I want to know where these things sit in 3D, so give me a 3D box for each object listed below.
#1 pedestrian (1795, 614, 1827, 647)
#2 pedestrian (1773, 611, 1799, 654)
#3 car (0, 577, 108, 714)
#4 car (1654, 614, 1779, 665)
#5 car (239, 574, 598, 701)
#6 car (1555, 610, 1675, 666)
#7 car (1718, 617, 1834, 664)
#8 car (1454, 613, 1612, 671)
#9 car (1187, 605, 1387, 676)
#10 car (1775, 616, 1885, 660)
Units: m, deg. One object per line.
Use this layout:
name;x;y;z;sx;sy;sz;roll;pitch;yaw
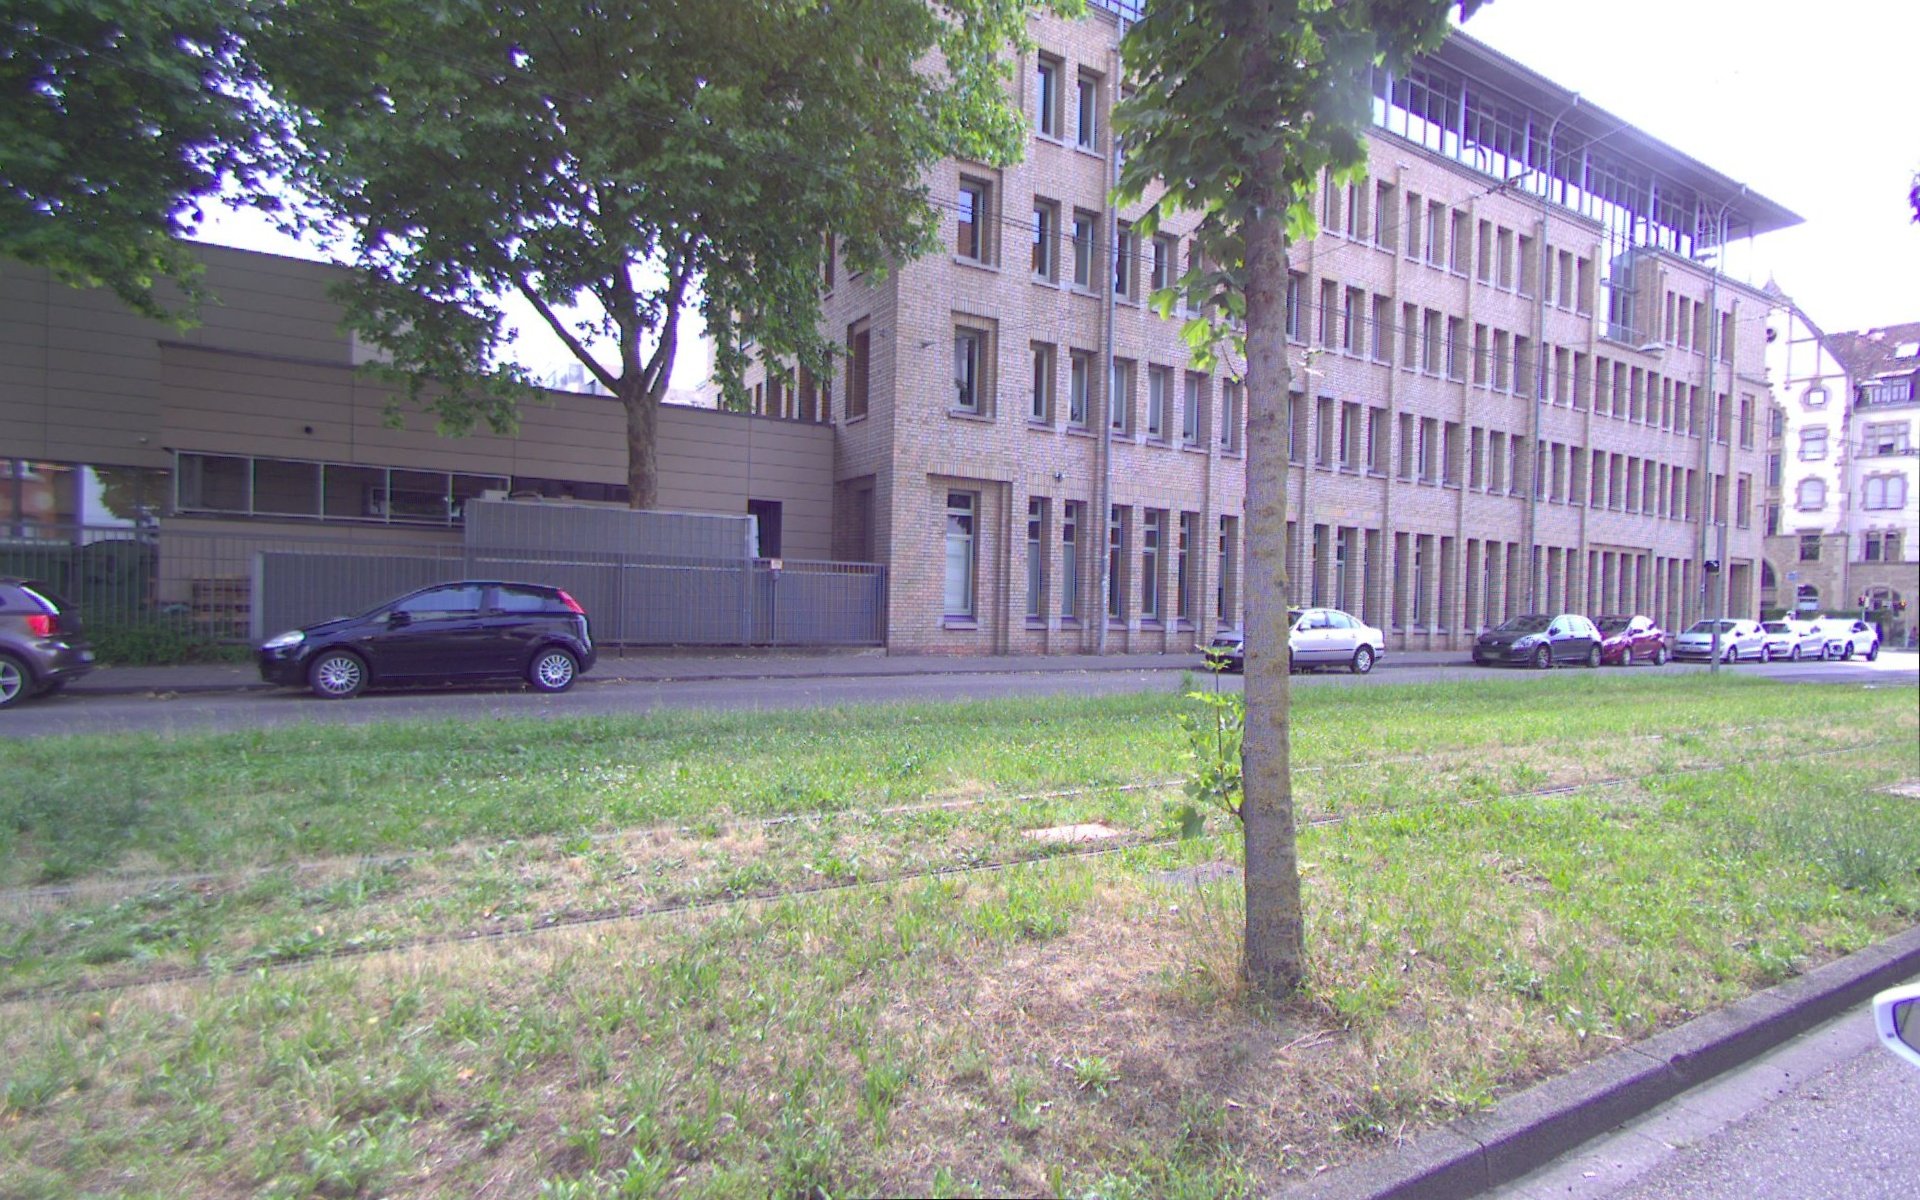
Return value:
pedestrian;45.465;1.624;53.663;1.003;1.745;0.776;2;1;15
pedestrian;36.201;1.424;44.035;0.749;1.819;0.957;2;1;34
car;-11.683;0.447;10.605;3.857;1.445;1.546;1;0;-31
car;25.145;1.300;33.364;4.160;1.551;1.842;1;0;-30
car;-7.045;0.467;13.412;3.950;1.472;1.795;1;0;-28
car;19.568;1.121;29.979;3.507;1.551;1.575;1;0;-30
car;29.346;1.444;36.112;3.967;1.551;1.924;1;0;-30
car;15.711;1.134;27.511;4.189;1.415;1.924;1;0;-30
car;7.339;0.879;22.429;4.432;1.415;1.707;1;0;-30
car;33.351;1.441;38.488;4.207;1.555;1.924;1;0;-30
